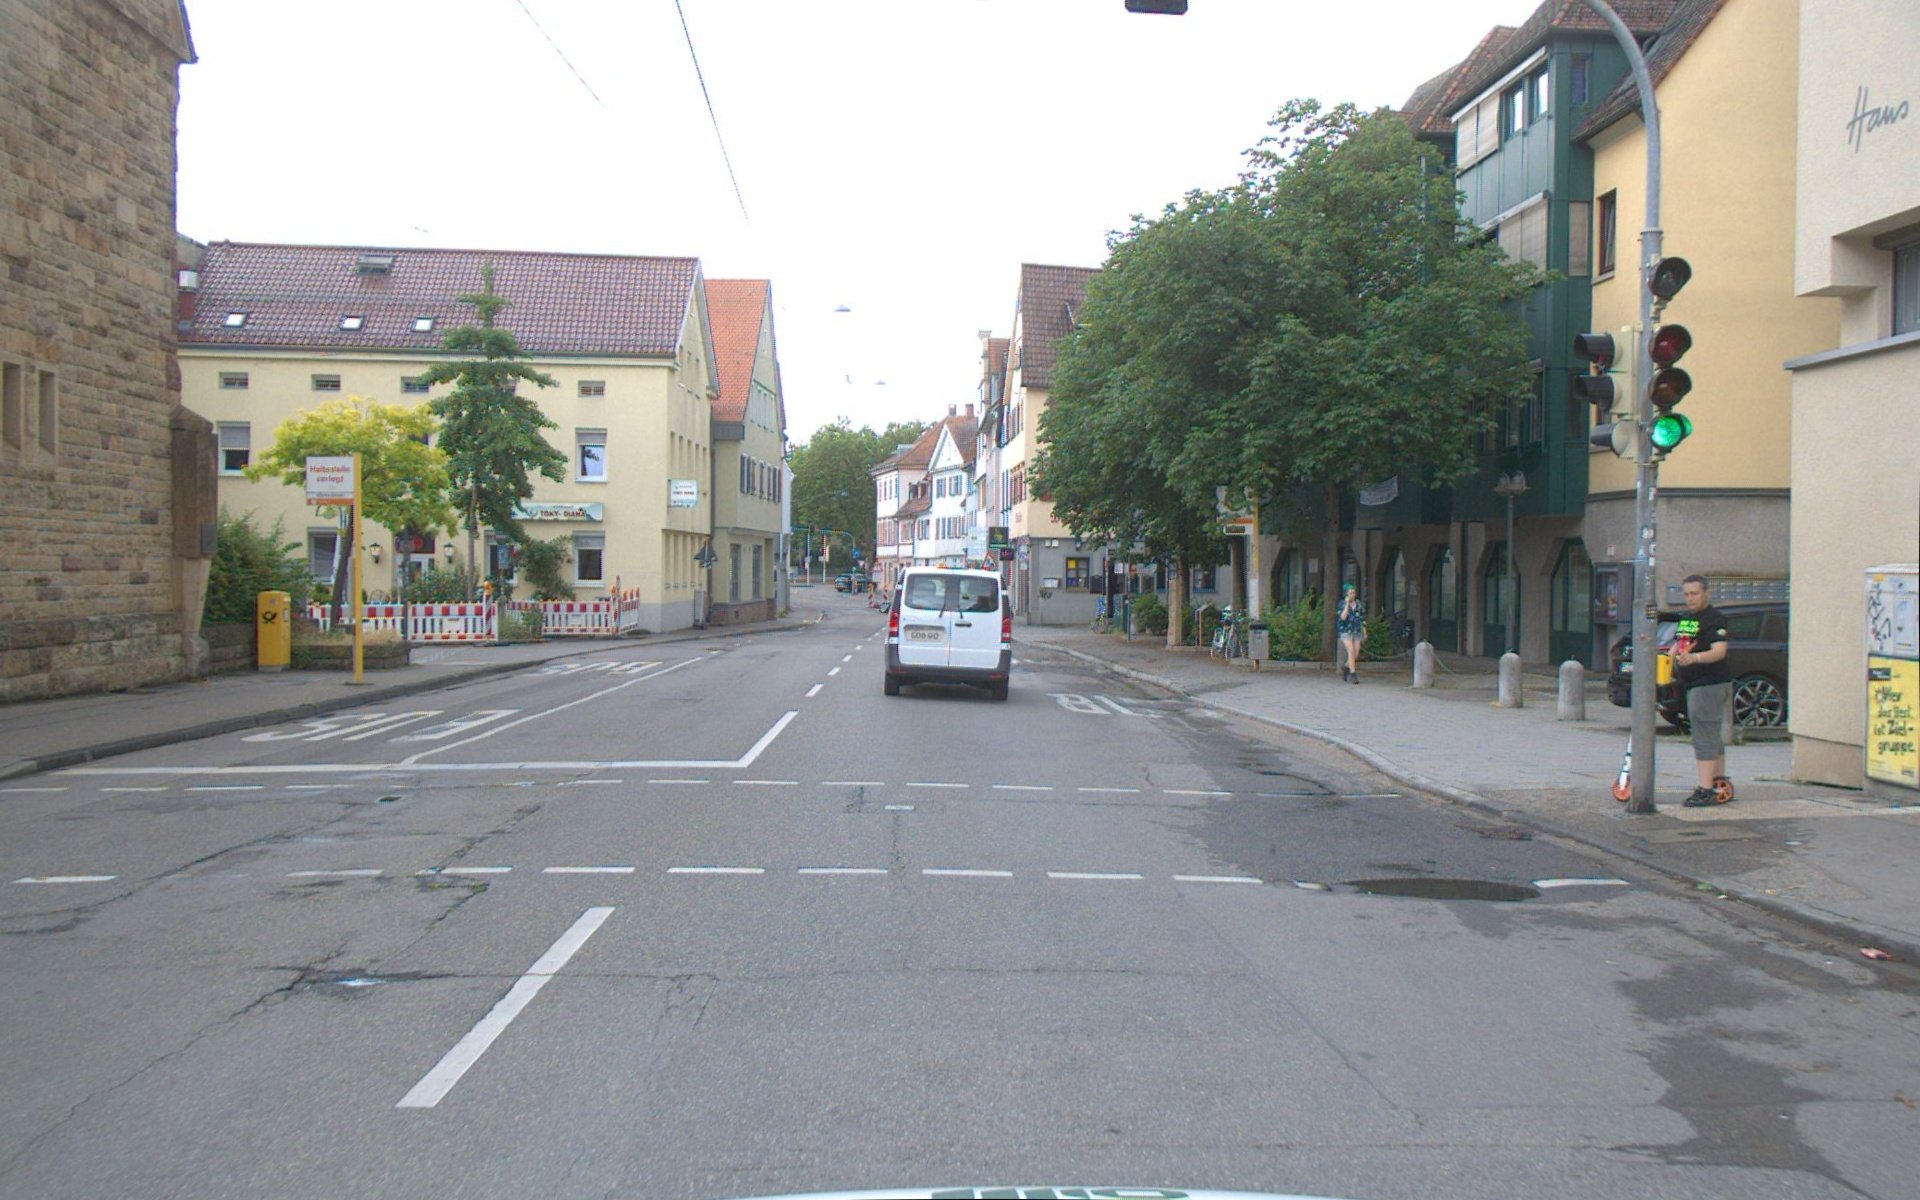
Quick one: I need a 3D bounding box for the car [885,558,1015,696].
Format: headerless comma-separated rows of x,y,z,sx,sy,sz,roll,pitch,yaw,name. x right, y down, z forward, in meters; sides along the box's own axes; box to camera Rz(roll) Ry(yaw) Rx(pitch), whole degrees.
-0.151,0.394,25.460,1.834,1.945,3.999,0,0,0,car

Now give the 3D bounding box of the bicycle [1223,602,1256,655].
6.294,0.624,37.286,0.326,1.161,1.958,1,0,-2,bicycle

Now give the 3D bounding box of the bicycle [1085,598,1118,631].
4.913,0.497,57.599,0.492,1.126,1.627,0,0,-21,bicycle

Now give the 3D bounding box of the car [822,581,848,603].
-11.993,-0.791,158.722,1.901,2.049,3.987,1,0,-13,car

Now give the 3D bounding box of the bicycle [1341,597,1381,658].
8.972,0.603,37.068,0.326,1.323,1.958,1,0,-2,bicycle

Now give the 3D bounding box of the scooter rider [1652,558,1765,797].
5.370,0.546,11.878,0.445,1.660,0.503,-2,-1,-16,scooter rider

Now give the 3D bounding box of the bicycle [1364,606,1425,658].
9.703,0.701,37.013,0.534,1.088,2.288,0,0,-6,bicycle

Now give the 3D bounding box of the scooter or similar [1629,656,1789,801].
5.353,0.898,11.855,0.650,0.962,0.817,-2,-1,-12,scooter or similar

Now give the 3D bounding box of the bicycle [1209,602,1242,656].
5.966,0.639,37.168,0.326,1.161,1.958,1,0,-2,bicycle

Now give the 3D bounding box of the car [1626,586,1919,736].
10.270,0.689,19.112,4.415,1.601,1.854,1,0,5,car

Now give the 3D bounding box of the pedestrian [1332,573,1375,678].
6.689,0.423,28.149,0.589,1.745,0.860,0,0,6,pedestrian

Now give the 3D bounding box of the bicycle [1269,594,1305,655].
7.405,0.541,37.540,0.326,1.323,1.958,1,0,-2,bicycle
